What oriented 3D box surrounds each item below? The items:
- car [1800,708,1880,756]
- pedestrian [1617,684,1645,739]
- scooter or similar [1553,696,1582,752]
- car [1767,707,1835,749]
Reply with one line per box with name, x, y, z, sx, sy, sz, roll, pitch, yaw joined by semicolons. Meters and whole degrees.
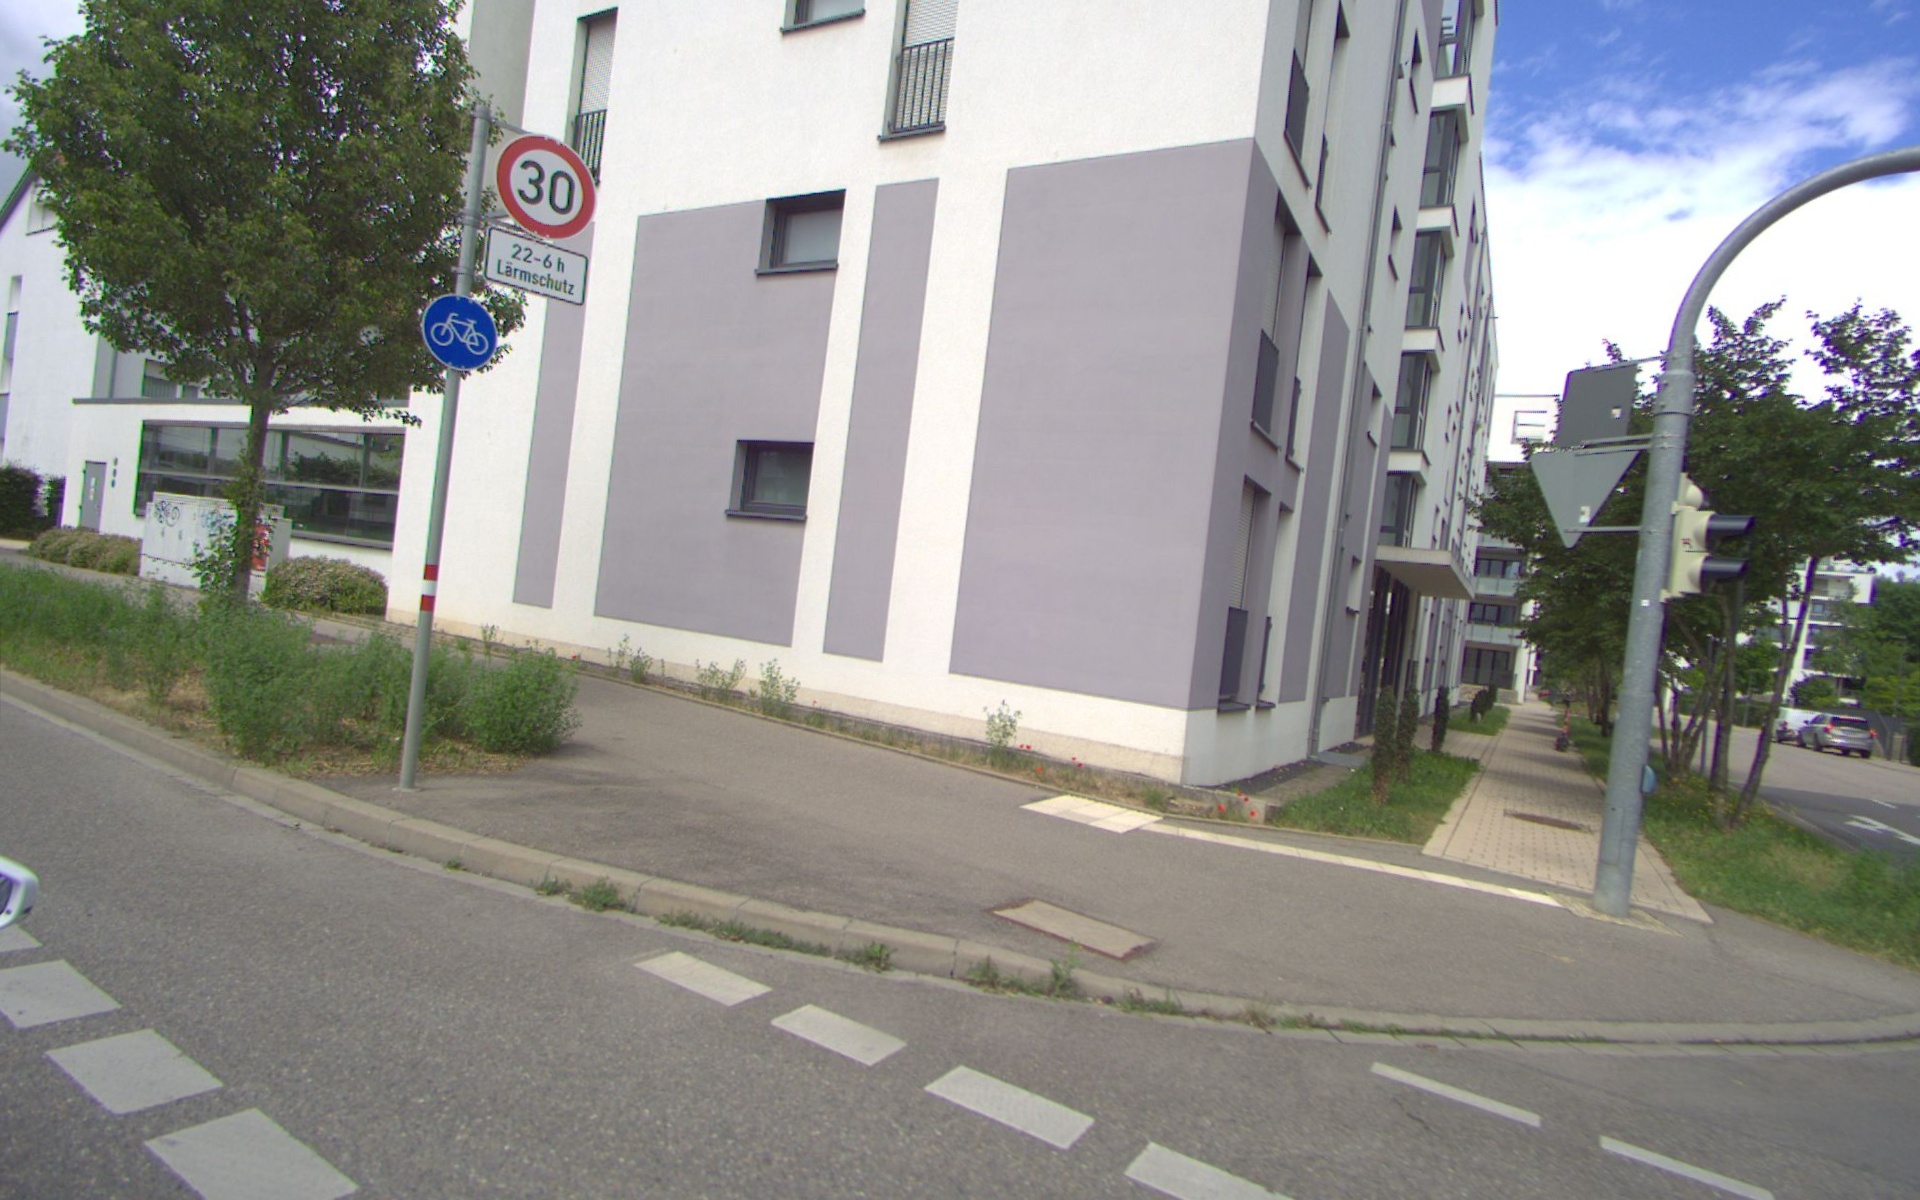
car;40.005;6.004;45.851;1.967;1.802;3.995;6;-3;32
pedestrian;23.236;3.852;34.834;0.621;1.794;0.606;6;-2;32
scooter or similar;14.482;2.939;24.000;0.474;1.254;1.166;6;-1;31
car;43.322;6.608;51.906;1.967;1.802;3.995;6;-3;32
